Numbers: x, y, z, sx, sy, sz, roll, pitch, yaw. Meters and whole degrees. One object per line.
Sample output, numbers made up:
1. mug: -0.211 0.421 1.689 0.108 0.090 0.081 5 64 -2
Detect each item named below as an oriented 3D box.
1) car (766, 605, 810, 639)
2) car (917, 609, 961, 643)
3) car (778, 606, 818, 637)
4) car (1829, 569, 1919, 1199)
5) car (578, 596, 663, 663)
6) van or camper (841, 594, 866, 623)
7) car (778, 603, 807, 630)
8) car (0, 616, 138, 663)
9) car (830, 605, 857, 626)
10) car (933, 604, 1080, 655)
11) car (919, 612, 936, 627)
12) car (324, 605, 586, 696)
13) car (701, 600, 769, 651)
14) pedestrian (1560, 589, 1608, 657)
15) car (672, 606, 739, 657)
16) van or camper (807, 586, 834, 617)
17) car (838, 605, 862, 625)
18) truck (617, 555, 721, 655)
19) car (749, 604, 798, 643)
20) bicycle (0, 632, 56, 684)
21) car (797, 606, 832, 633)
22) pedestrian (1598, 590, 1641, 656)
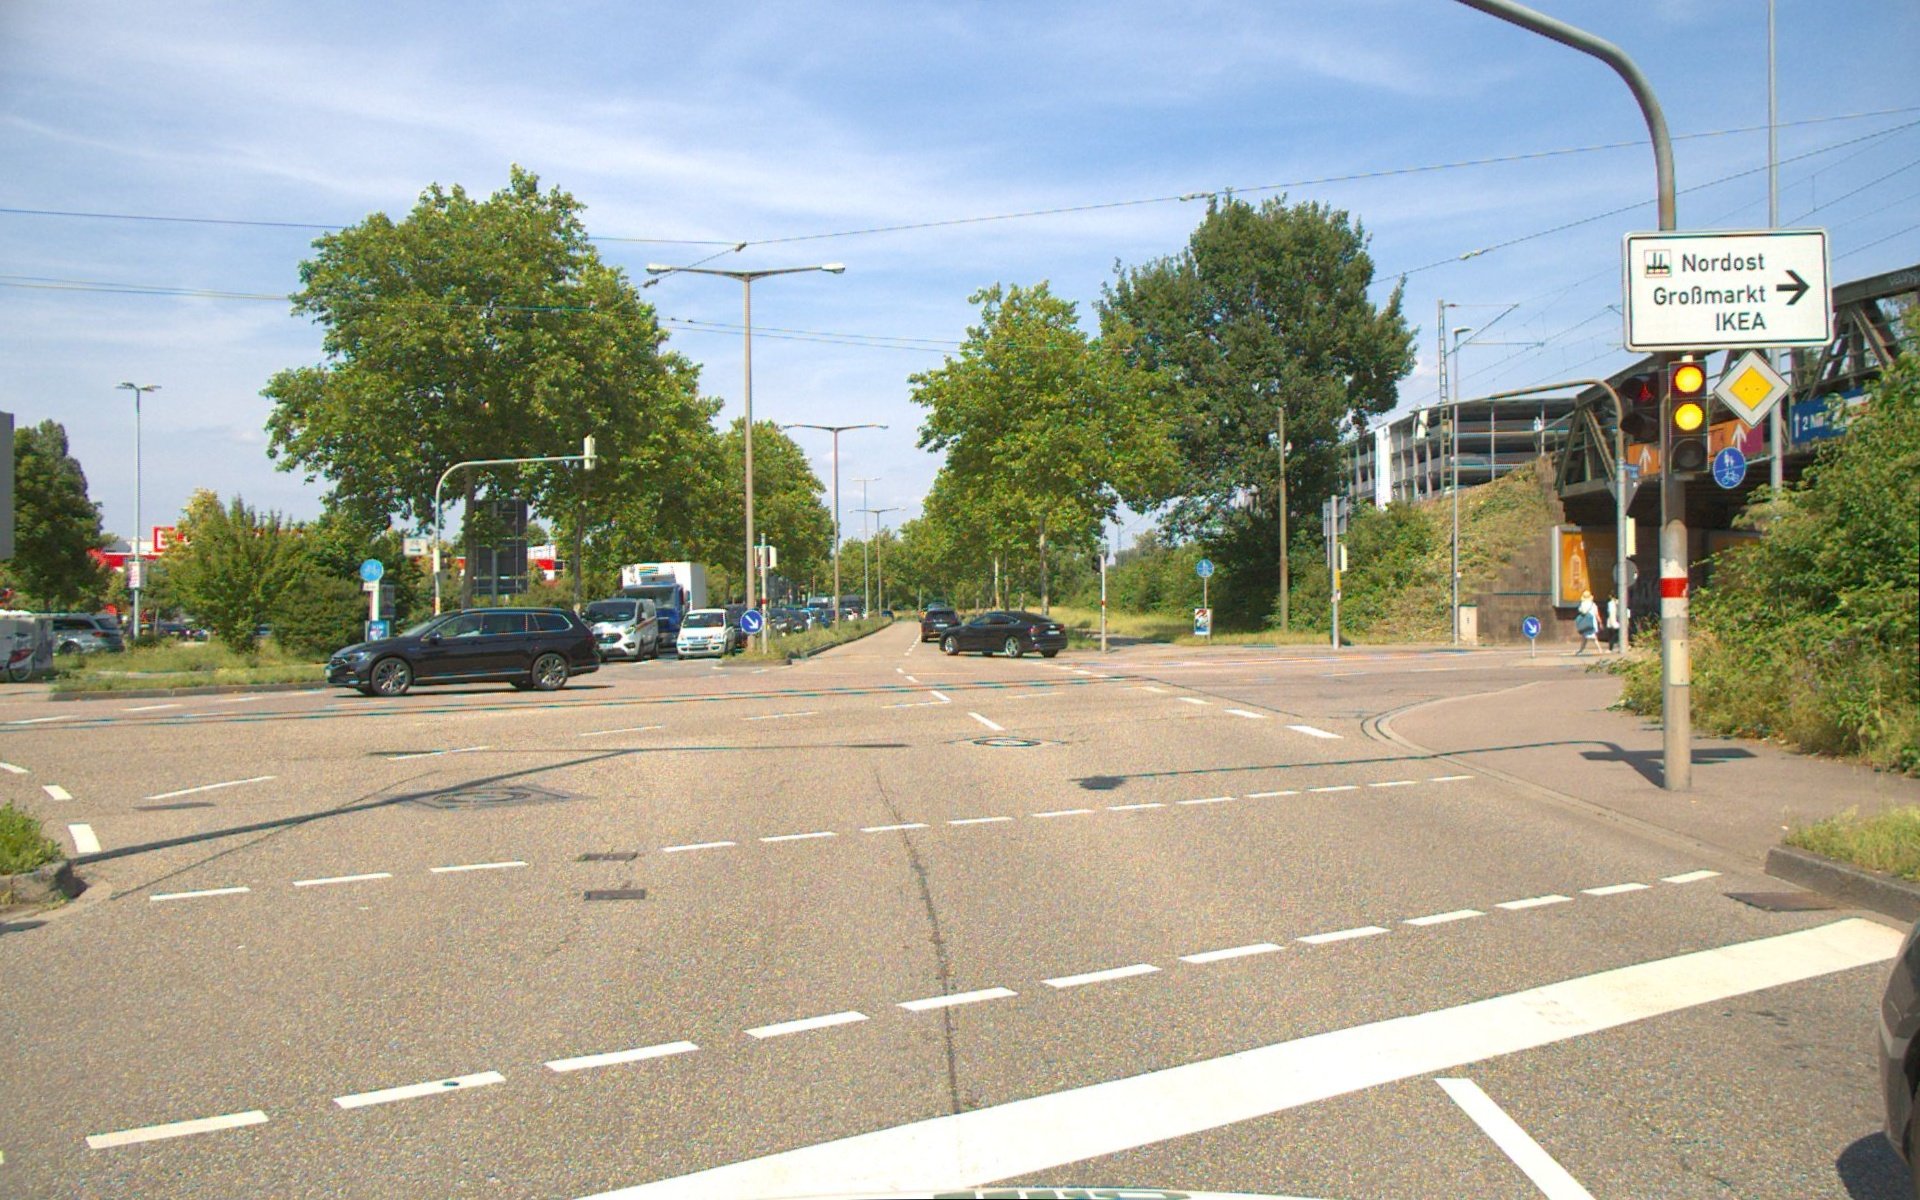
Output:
1. car: -8.216 1.042 79.103 1.655 1.499 4.217 -3 0 -1
2. car: -0.958 1.134 73.387 1.797 1.416 4.262 -1 0 -3
3. car: -8.280 1.091 84.739 1.654 1.497 3.814 -2 0 -1
4. car: 3.006 0.680 2.084 1.640 1.479 4.035 1 0 -1
5. car: -10.817 0.903 53.048 1.937 2.034 5.028 -1 0 -3
6. van or camper: -9.059 0.734 140.570 1.899 2.410 5.395 -2 -1 -2
7. car: -12.018 1.182 118.714 1.654 1.891 4.035 -2 -1 -1
8. car: -29.706 1.290 54.199 4.477 1.439 2.197 -1 0 -8
9. car: -8.783 1.175 125.053 1.747 1.484 4.471 -2 0 -1
10. car: 1.406 0.883 51.288 1.900 1.489 4.545 -1 0 -44
11. car: -3.378 2.015 172.131 1.654 1.537 3.814 -2 0 -1
12. car: -8.954 0.853 29.408 4.166 1.468 1.771 -1 0 -31
13. car: -7.872 0.895 58.312 1.783 1.675 4.692 -2 -1 -1
14. pedestrian: 15.259 0.563 40.478 0.850 1.640 0.777 -1 0 -1
15. car: -8.031 0.960 52.370 1.560 1.503 3.728 -2 0 -1
16. van or camper: -12.442 0.146 147.694 1.974 2.633 5.516 -2 0 -1
17. car: -8.771 1.165 131.665 1.654 1.537 3.814 -2 0 -1
18. truck: -11.045 0.160 63.401 2.747 3.532 6.690 -3 0 -1
19. car: -8.056 0.996 71.832 1.654 1.614 4.239 -2 0 -1
20. bicycle: -19.940 1.213 34.695 0.581 1.055 1.897 -1 0 13
21. car: -8.545 1.143 97.429 1.749 1.515 4.209 -2 0 -2
22. pedestrian: 16.180 0.561 40.596 0.714 1.607 0.777 -1 0 -1
